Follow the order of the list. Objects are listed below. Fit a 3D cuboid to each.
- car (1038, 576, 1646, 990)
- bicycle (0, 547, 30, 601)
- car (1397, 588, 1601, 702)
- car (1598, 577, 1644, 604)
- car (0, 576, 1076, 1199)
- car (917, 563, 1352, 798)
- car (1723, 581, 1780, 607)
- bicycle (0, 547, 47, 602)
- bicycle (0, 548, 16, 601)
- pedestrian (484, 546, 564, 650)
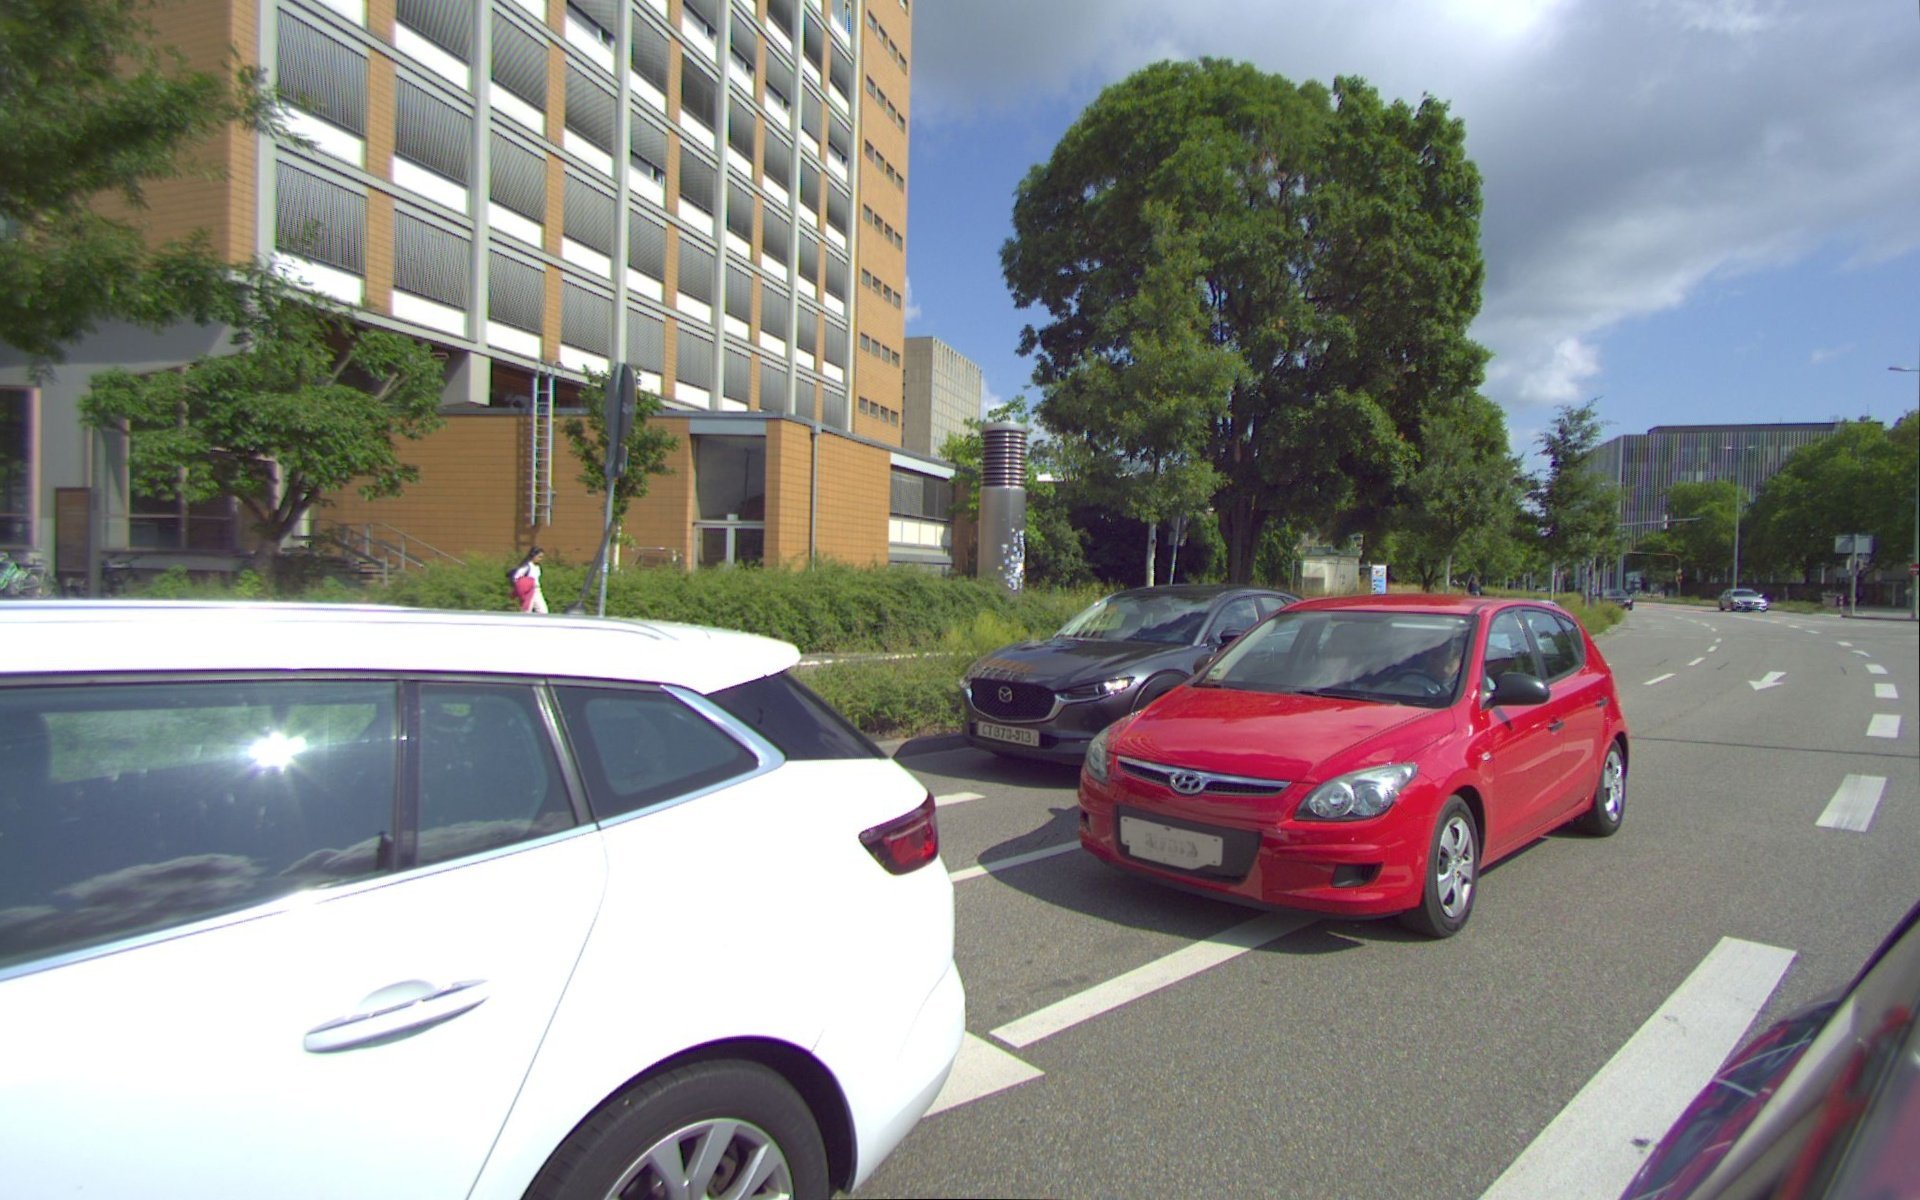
[{"bbox_3d":[2.375,0.626,5.648,3.998,1.486,1.642,-1,1,-44],"label":"car"},{"bbox_3d":[-22.687,-0.599,23.595,0.423,1.263,1.466,1,1,18],"label":"bicycle"},{"bbox_3d":[7.995,0.554,14.841,1.583,1.402,4.014,0,1,44],"label":"car"},{"bbox_3d":[45.151,-0.643,69.167,1.978,1.777,3.968,0,1,24],"label":"car"},{"bbox_3d":[-1.998,0.710,1.520,4.596,1.447,1.759,-2,1,-43],"label":"car"},{"bbox_3d":[1.713,0.502,8.891,4.143,1.596,1.642,-1,1,-44],"label":"car"},{"bbox_3d":[51.415,-0.408,65.780,1.810,1.544,3.972,2,2,22],"label":"car"},{"bbox_3d":[-22.178,-0.604,23.474,0.423,1.263,1.466,1,1,18],"label":"bicycle"},{"bbox_3d":[-23.163,-0.608,23.734,0.423,1.263,1.466,1,1,18],"label":"bicycle"},{"bbox_3d":[-6.962,-0.046,16.188,0.940,1.598,0.769,1,1,2],"label":"pedestrian"}]
